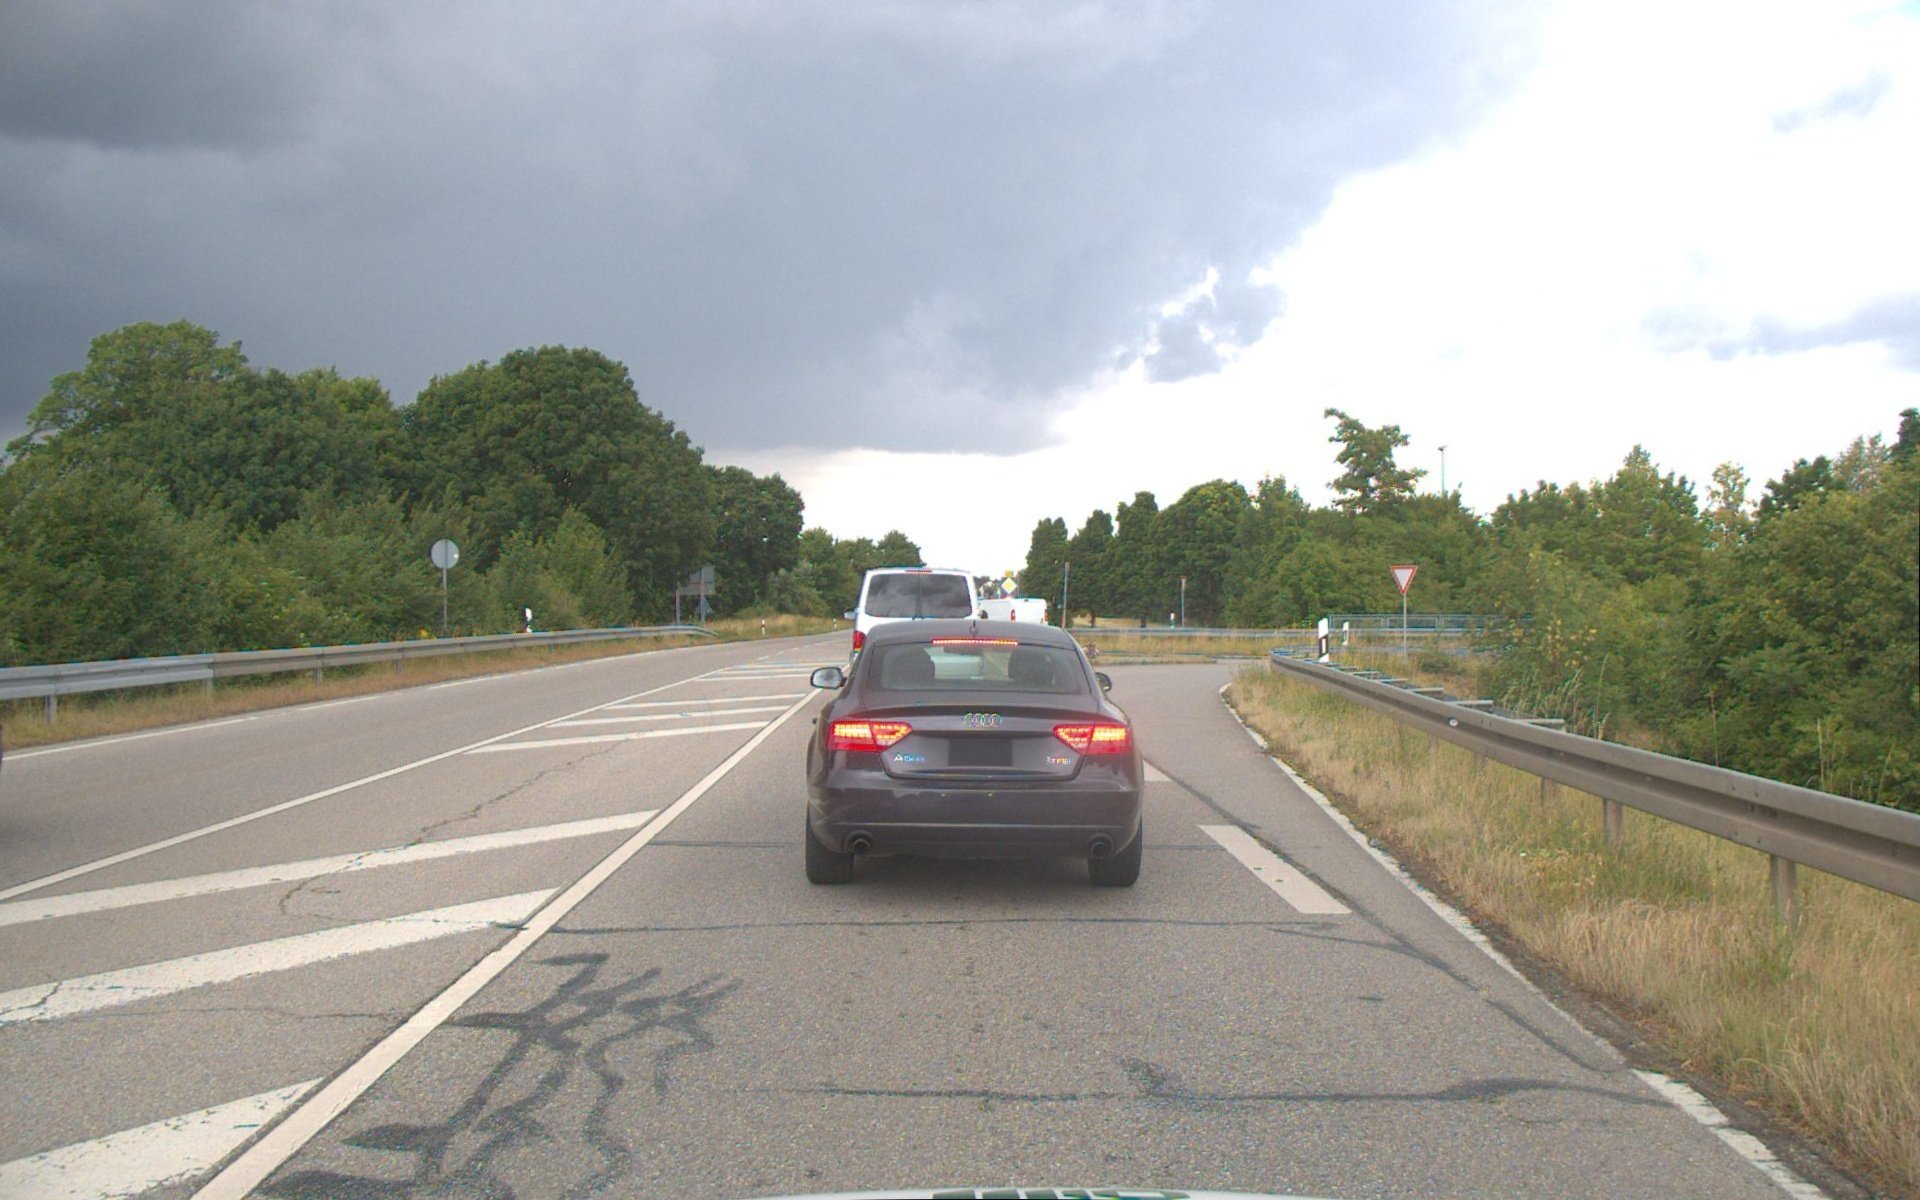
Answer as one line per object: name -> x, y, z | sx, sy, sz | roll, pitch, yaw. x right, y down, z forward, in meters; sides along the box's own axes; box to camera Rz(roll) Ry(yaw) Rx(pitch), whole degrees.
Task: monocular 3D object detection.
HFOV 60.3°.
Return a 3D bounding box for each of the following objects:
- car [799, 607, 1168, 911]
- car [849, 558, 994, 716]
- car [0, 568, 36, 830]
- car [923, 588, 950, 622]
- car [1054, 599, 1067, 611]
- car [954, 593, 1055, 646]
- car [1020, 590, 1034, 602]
car -> 0.054, 0.763, 9.508 | 1.744, 1.423, 3.335 | 0, 0, -2
car -> -0.567, 0.470, 23.715 | 1.872, 2.049, 3.999 | 1, 0, -2
car -> -6.406, 0.582, 7.955 | 1.675, 1.545, 4.207 | 1, 0, -3
car -> -1.790, 0.358, 126.414 | 1.953, 2.450, 3.999 | 2, 0, -1
car -> 14.242, 0.718, 234.739 | 1.836, 1.722, 4.002 | 1, 0, 4
car -> 1.827, 0.806, 69.697 | 2.059, 2.101, 4.826 | 1, 0, -30
car -> 9.776, -0.535, 241.856 | 1.952, 1.722, 4.000 | 1, 0, 1
